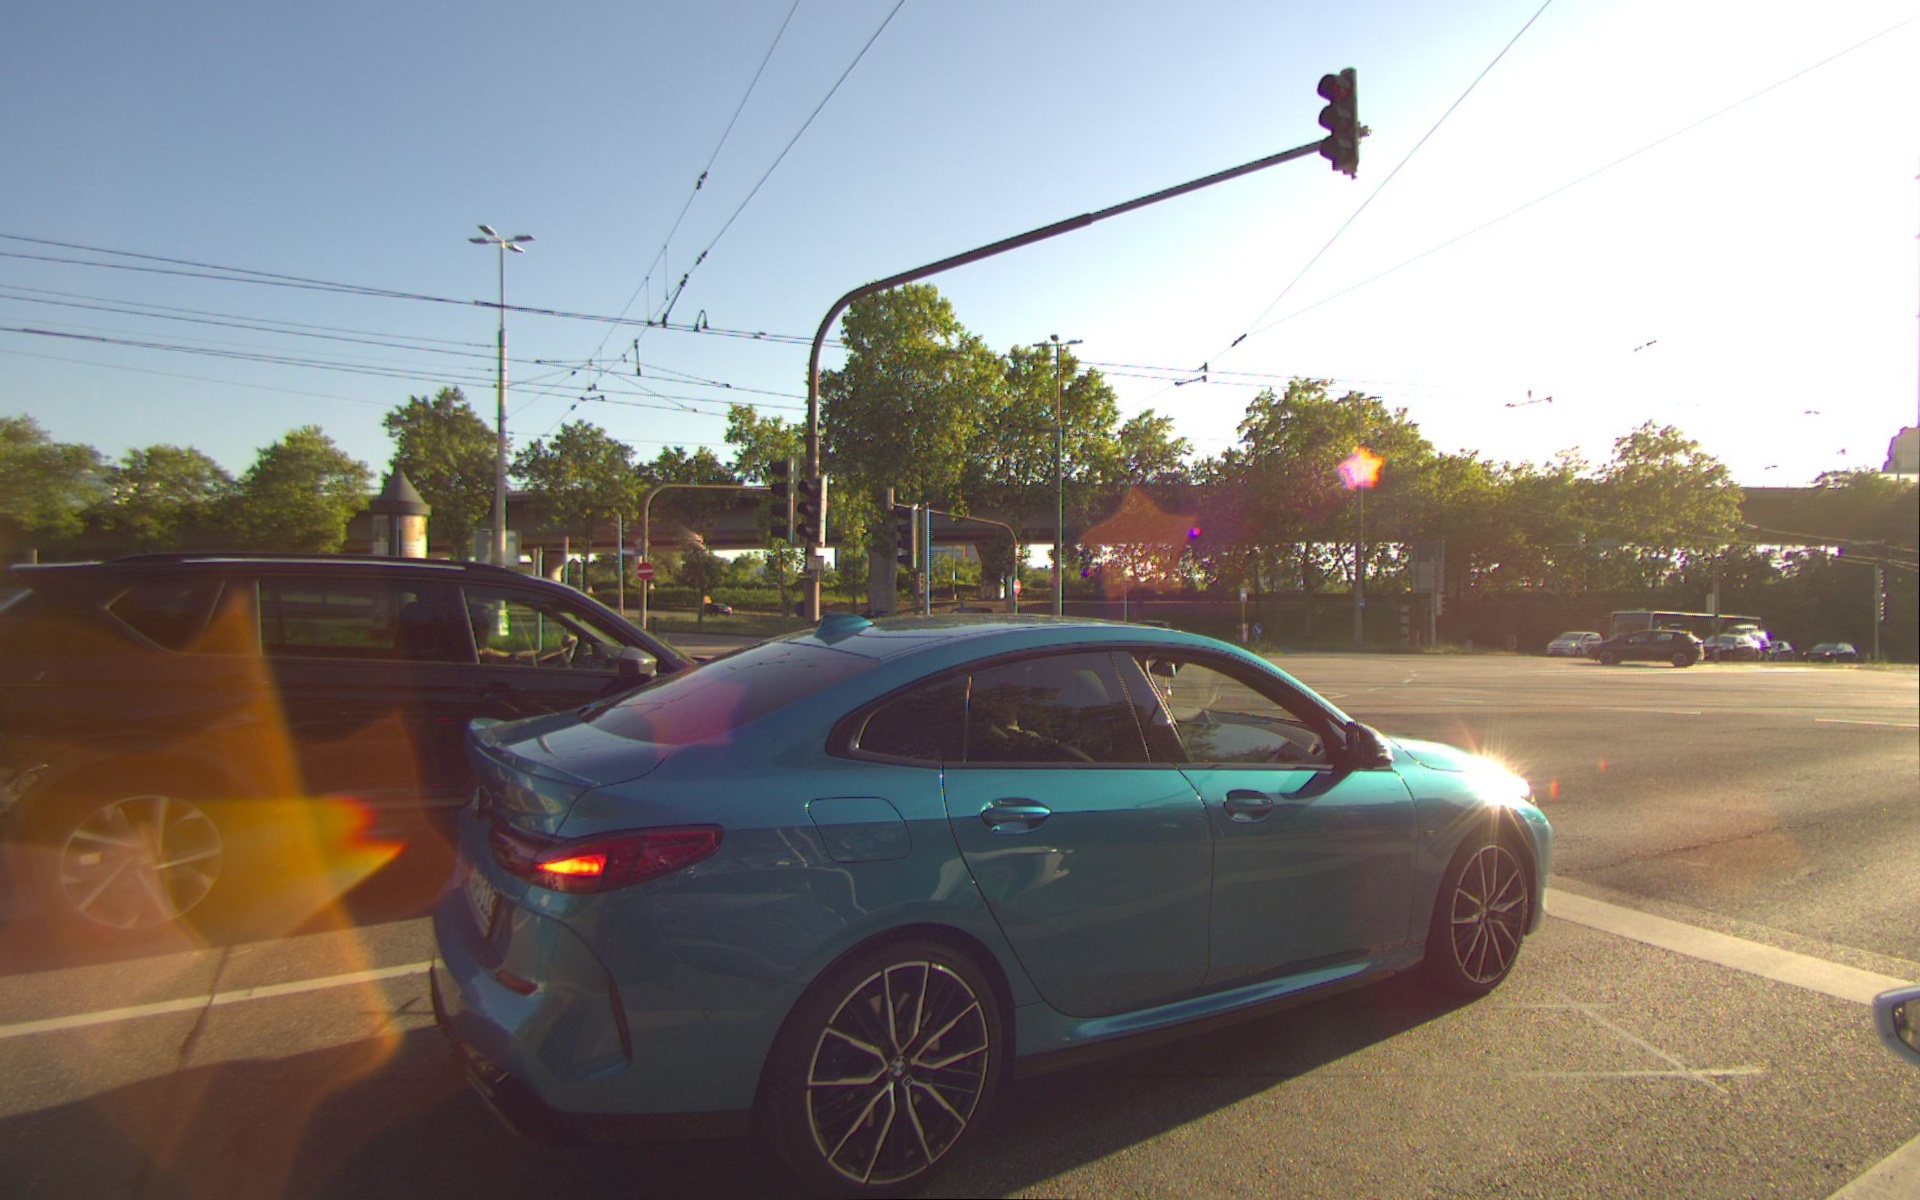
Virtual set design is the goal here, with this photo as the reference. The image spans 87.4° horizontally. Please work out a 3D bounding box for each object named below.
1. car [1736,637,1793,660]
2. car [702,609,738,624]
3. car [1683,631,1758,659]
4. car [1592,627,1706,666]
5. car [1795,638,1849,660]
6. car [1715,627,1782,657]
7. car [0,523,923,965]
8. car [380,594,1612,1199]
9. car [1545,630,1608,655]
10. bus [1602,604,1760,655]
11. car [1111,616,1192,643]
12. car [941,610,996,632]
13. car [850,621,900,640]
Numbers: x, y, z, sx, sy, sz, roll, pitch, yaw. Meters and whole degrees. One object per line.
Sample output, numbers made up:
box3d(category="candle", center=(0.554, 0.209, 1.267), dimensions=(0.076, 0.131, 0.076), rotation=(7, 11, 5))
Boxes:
box3d(category="car", center=(54.713, 3.287, 68.320), dimensions=(3.952, 1.461, 1.692), rotation=(2, -1, -30))
box3d(category="car", center=(-24.930, 1.695, 104.211), dimensions=(1.981, 1.473, 4.487), rotation=(2, -1, -36))
box3d(category="car", center=(39.679, 2.333, 52.389), dimensions=(4.046, 1.372, 1.703), rotation=(2, -1, -30))
box3d(category="car", center=(28.275, 1.875, 41.271), dimensions=(3.680, 1.441, 1.688), rotation=(1, -1, 42))
box3d(category="car", center=(60.908, 3.485, 70.939), dimensions=(3.952, 1.461, 1.692), rotation=(2, -1, -30))
box3d(category="car", center=(46.502, 2.458, 59.226), dimensions=(4.046, 1.674, 1.703), rotation=(2, -1, -30))
box3d(category="car", center=(-2.655, 0.599, 5.635), dimensions=(4.550, 1.704, 1.905), rotation=(2, -1, -32))
box3d(category="car", center=(0.432, 0.761, 3.803), dimensions=(4.465, 1.436, 1.774), rotation=(2, -1, -33))
box3d(category="car", center=(35.195, 2.426, 57.317), dimensions=(3.693, 1.372, 1.595), rotation=(2, -1, -32))
box3d(category="bus", center=(45.481, 1.883, 63.179), dimensions=(12.693, 2.993, 2.811), rotation=(2, -1, -28))
box3d(category="car", center=(11.423, 1.735, 60.129), dimensions=(1.986, 1.473, 4.478), rotation=(2, -1, -42))
box3d(category="car", center=(0.656, 1.623, 79.033), dimensions=(1.983, 1.644, 4.485), rotation=(2, -1, -38))
box3d(category="car", center=(-7.084, 2.510, 83.094), dimensions=(1.982, 1.473, 4.485), rotation=(2, -1, -38))
